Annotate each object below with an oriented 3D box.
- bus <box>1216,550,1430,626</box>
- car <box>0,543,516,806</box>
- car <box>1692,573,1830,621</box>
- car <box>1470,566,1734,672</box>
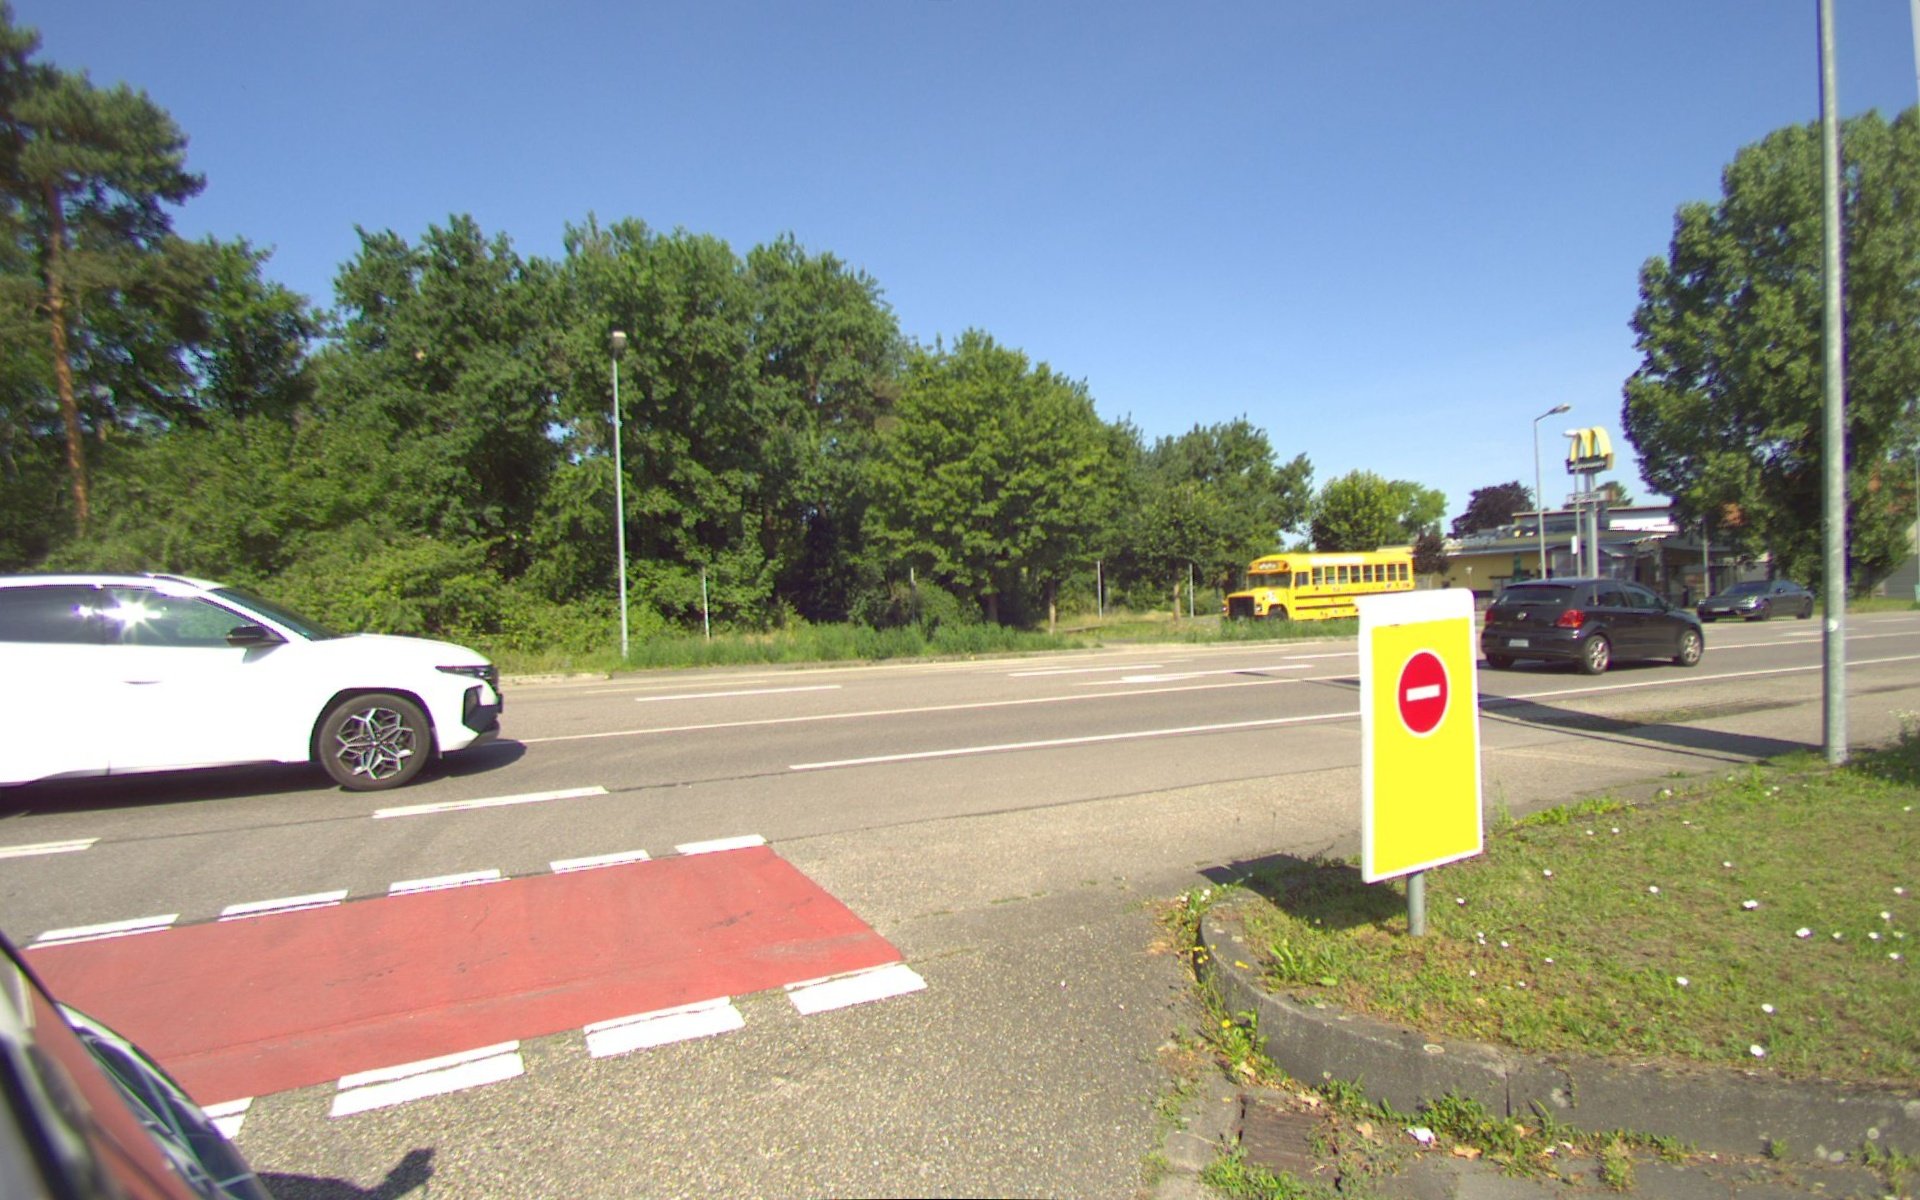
[{"bbox_3d":[14.138,-0.484,39.144,8.842,2.699,2.596,-1,1,-29],"label":"bus"},{"bbox_3d":[-5.748,0.452,7.609,4.233,1.661,1.820,-1,0,-29],"label":"car"},{"bbox_3d":[27.956,-0.101,35.312,4.826,1.507,1.858,-1,-3,-27],"label":"car"},{"bbox_3d":[10.070,0.224,15.838,3.985,1.441,1.657,-2,1,-26],"label":"car"}]
